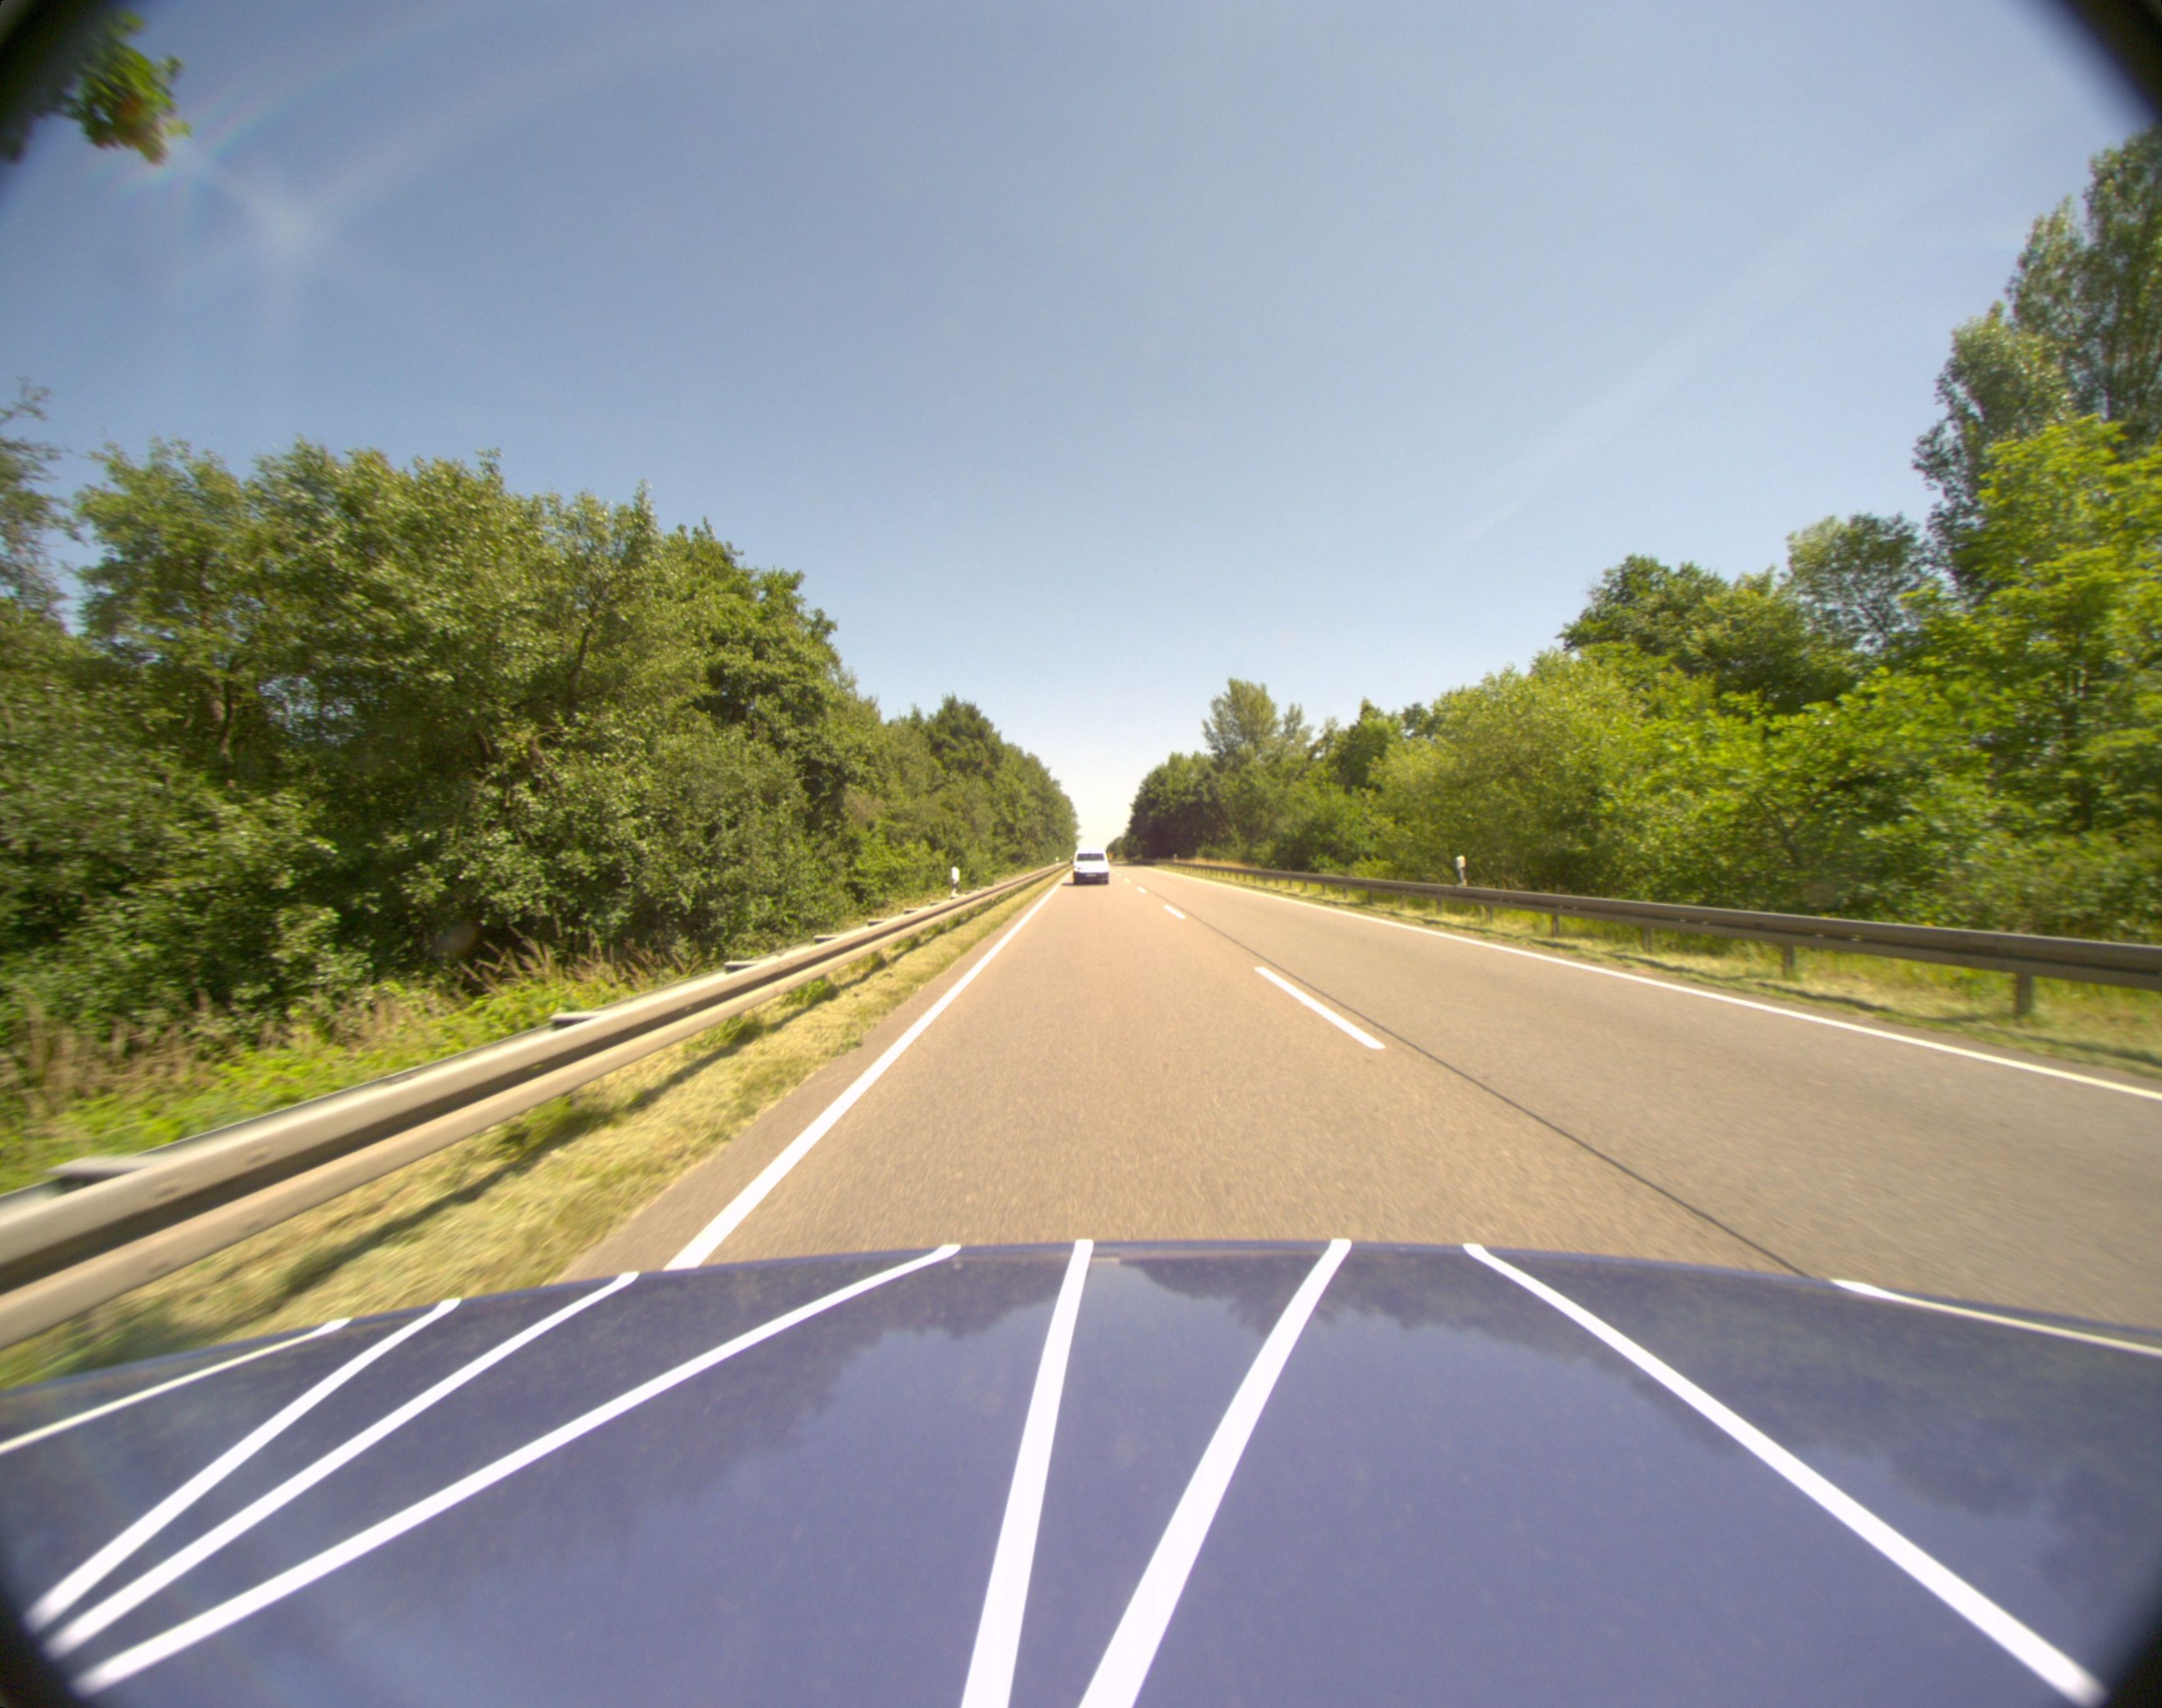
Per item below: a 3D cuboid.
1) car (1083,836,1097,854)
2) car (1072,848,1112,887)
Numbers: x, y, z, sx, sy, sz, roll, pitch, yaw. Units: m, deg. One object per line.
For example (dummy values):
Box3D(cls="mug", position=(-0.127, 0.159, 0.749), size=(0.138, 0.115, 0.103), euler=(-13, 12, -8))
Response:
Box3D(cls="car", position=(1.223, -1.180, 102.701), size=(1.782, 2.287, 4.106), euler=(-2, 0, 1))
Box3D(cls="car", position=(0.538, 0.632, 37.055), size=(1.782, 1.743, 4.513), euler=(-2, -1, 1))
